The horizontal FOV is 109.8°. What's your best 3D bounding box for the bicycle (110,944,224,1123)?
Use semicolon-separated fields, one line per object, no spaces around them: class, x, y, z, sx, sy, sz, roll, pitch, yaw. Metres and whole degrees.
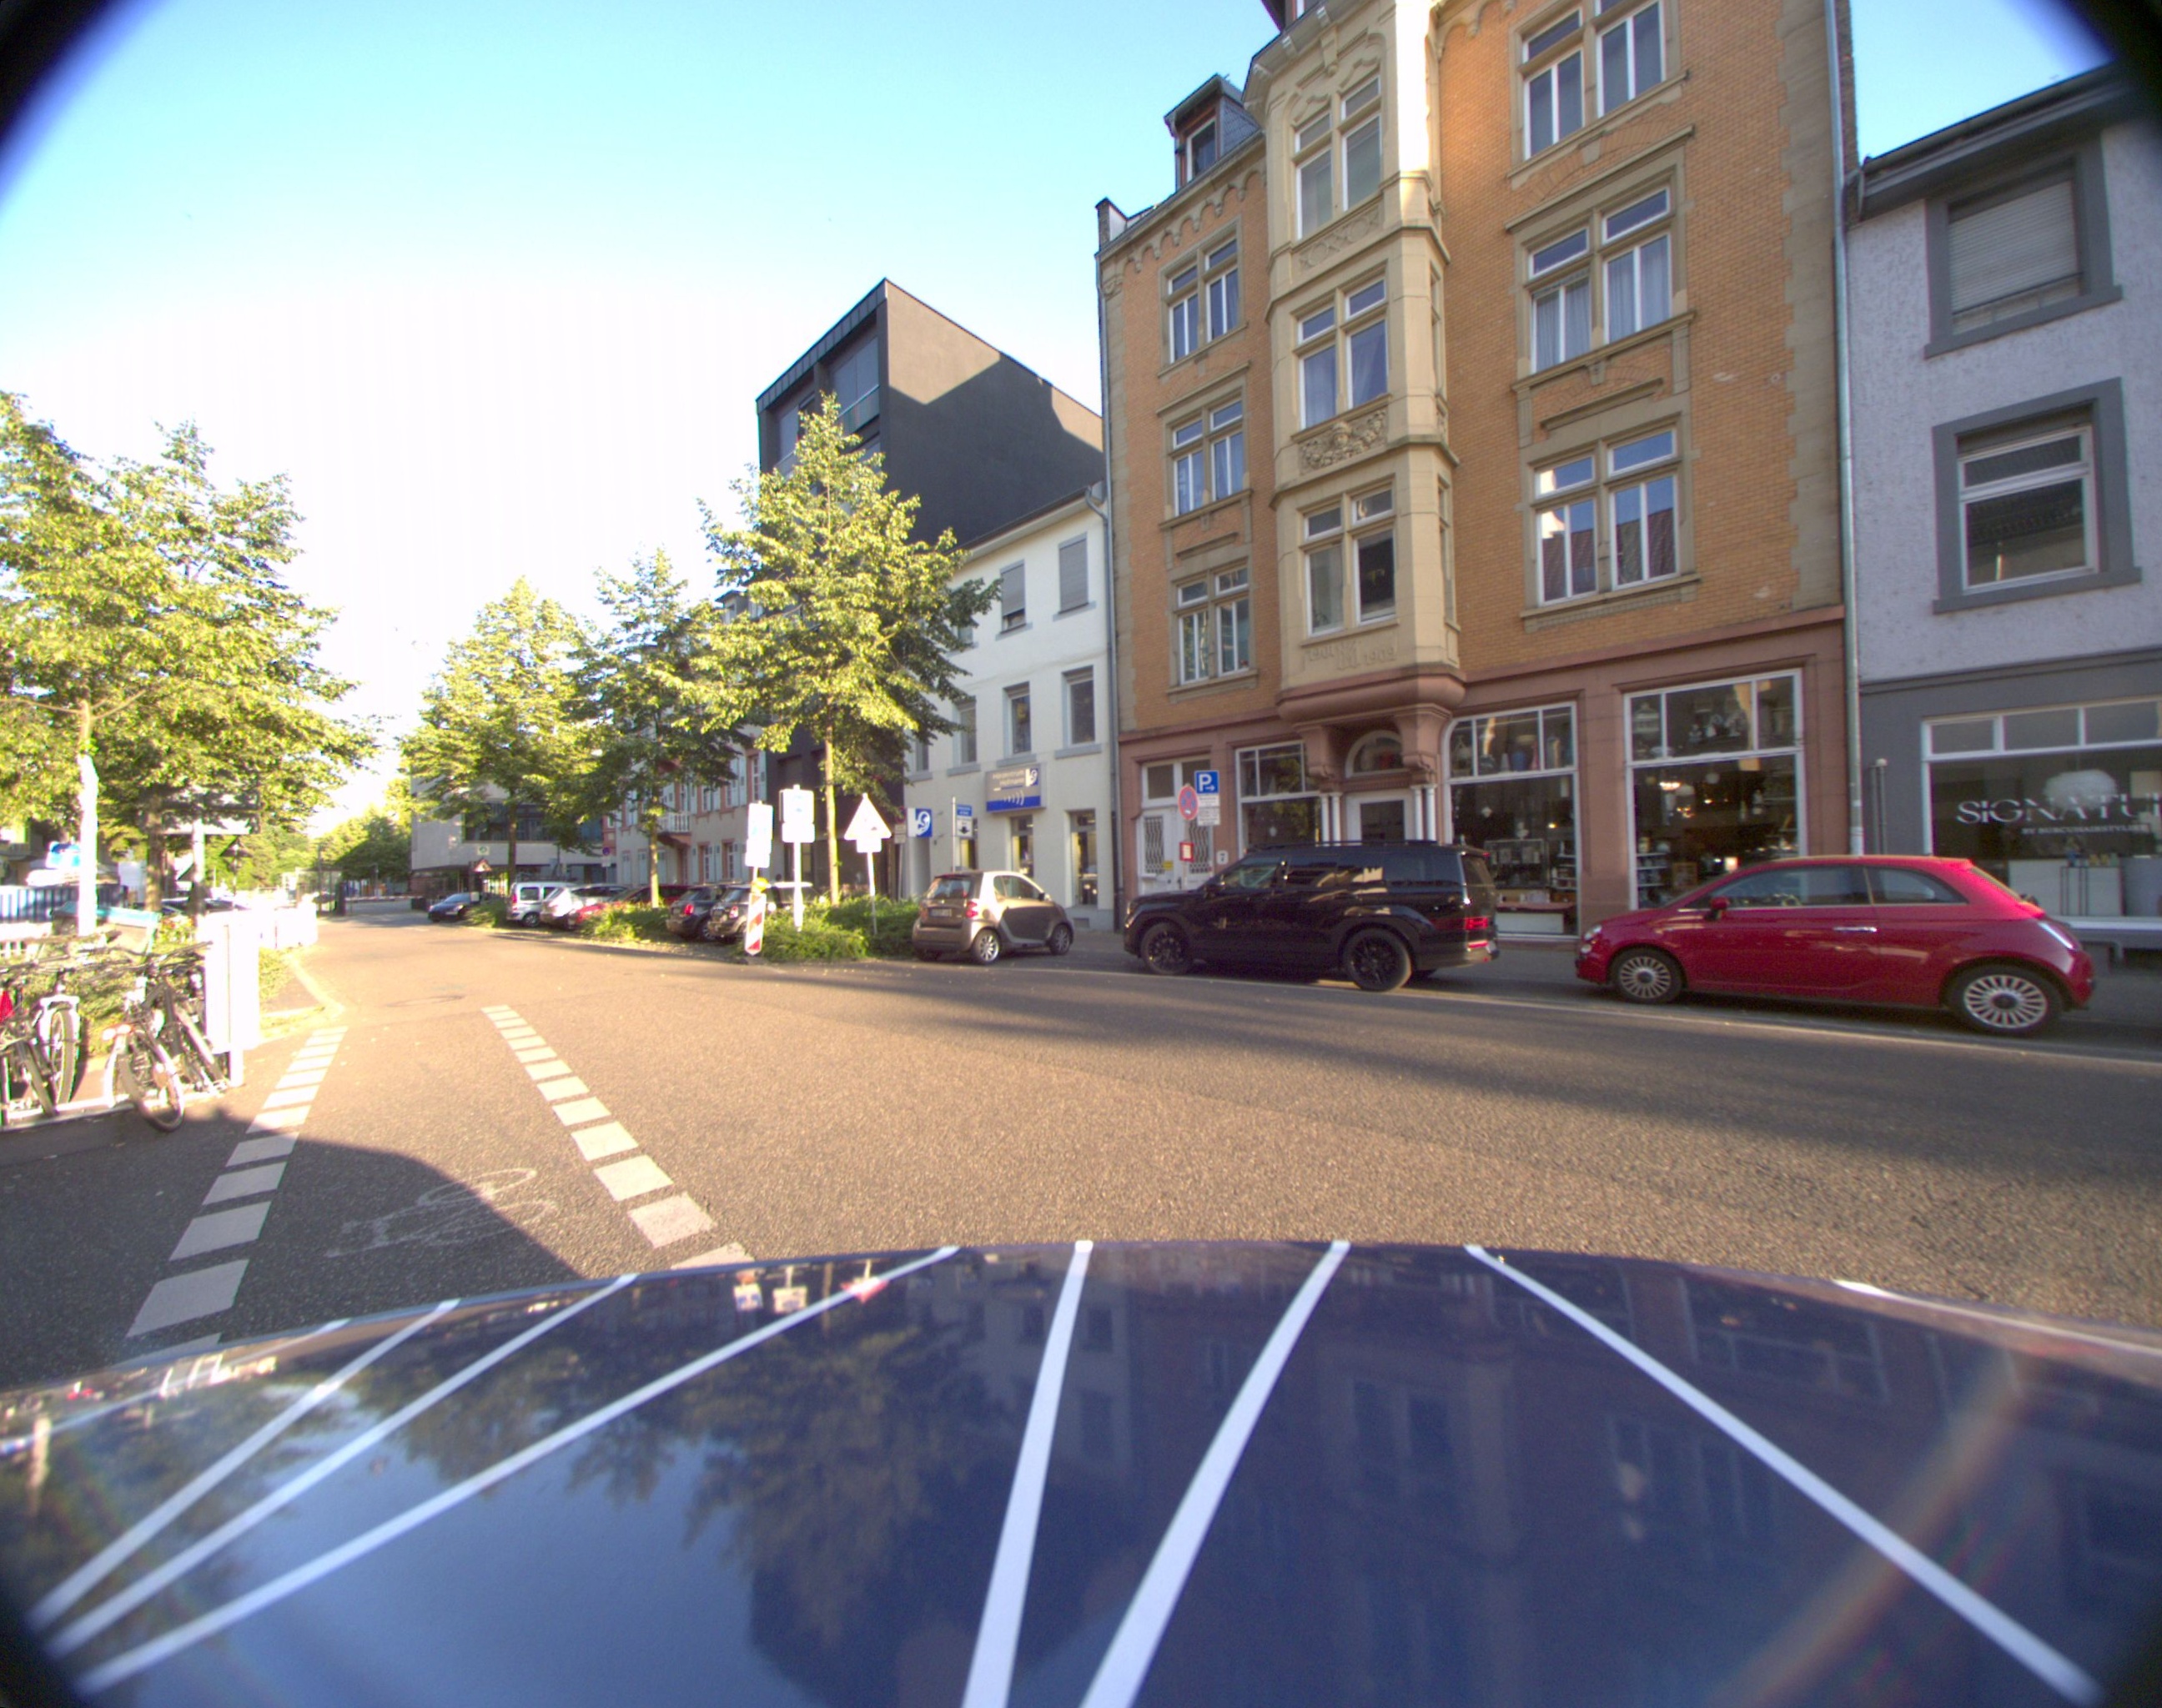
bicycle;-7.392;1.380;6.187;1.548;1.171;0.510;-2;-1;42

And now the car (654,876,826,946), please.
car;-8.908;1.435;20.043;1.853;1.659;3.706;-2;-3;40

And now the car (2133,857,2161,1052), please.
car;9.870;0.734;4.526;3.924;1.563;1.671;-3;-3;43

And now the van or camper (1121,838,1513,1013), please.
van or camper;2.921;0.816;9.893;4.448;1.796;1.900;-2;-2;37

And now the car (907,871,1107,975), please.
car;-1.219;1.128;13.656;1.503;1.566;3.489;-2;-1;40

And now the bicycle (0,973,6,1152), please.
bicycle;-6.708;1.333;4.288;0.419;1.150;1.548;-1;-1;-43

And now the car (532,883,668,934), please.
car;-17.077;1.878;27.081;1.853;1.659;3.706;-2;-3;40

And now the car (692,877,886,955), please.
car;-6.989;1.412;18.501;1.853;1.659;4.018;-2;-3;40

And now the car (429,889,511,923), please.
car;-30.699;2.580;38.328;1.859;1.558;3.694;0;-2;-15

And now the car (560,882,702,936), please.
car;-15.044;1.788;25.524;1.853;1.659;3.706;-2;-3;40

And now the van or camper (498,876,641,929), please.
van or camper;-20.611;1.888;30.780;1.853;1.993;4.465;-2;-3;40

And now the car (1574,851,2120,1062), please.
car;6.976;0.823;7.376;3.412;1.560;1.534;-2;-2;44

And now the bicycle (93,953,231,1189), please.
bicycle;-6.040;1.332;5.046;1.548;1.213;0.500;-2;-1;42

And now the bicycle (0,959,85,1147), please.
bicycle;-7.892;1.423;5.619;1.548;1.156;0.490;-2;-1;42

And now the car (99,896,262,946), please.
car;-35.299;2.590;29.971;1.886;1.673;4.009;-2;-2;45
